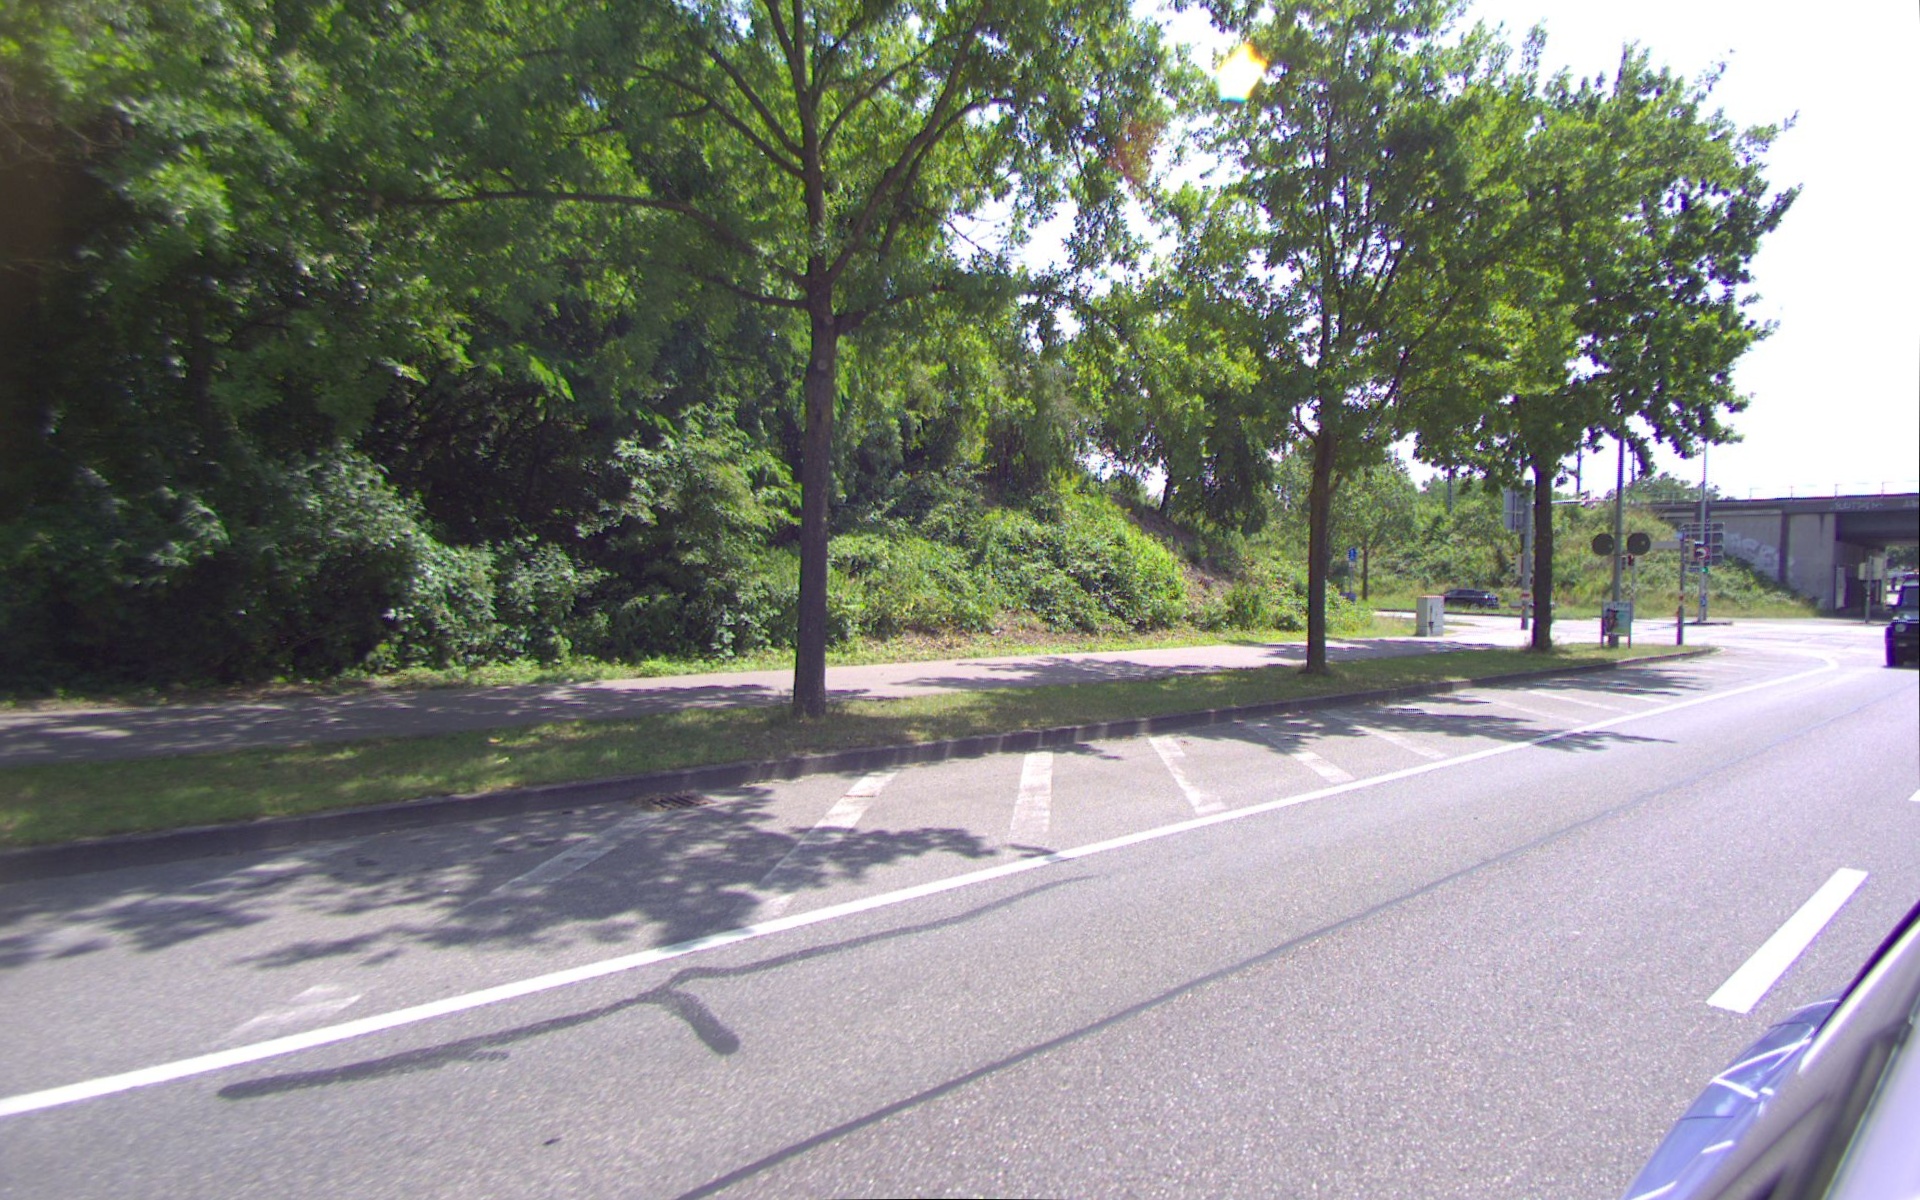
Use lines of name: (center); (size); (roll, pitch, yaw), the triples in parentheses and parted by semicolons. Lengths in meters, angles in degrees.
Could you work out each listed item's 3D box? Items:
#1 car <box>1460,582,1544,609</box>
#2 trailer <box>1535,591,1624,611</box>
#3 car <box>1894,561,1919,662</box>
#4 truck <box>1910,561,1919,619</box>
car: (30.645, -0.270, 57.287); (3.891, 1.407, 1.781); (2, 2, 44)
trailer: (33.422, 0.056, 54.620); (3.822, 0.954, 1.655); (3, 2, 45)
car: (22.743, 0.240, 22.921); (4.479, 2.180, 1.840); (-1, 2, -41)
truck: (52.484, -0.526, 52.945); (8.362, 2.952, 2.885); (0, 1, -38)
